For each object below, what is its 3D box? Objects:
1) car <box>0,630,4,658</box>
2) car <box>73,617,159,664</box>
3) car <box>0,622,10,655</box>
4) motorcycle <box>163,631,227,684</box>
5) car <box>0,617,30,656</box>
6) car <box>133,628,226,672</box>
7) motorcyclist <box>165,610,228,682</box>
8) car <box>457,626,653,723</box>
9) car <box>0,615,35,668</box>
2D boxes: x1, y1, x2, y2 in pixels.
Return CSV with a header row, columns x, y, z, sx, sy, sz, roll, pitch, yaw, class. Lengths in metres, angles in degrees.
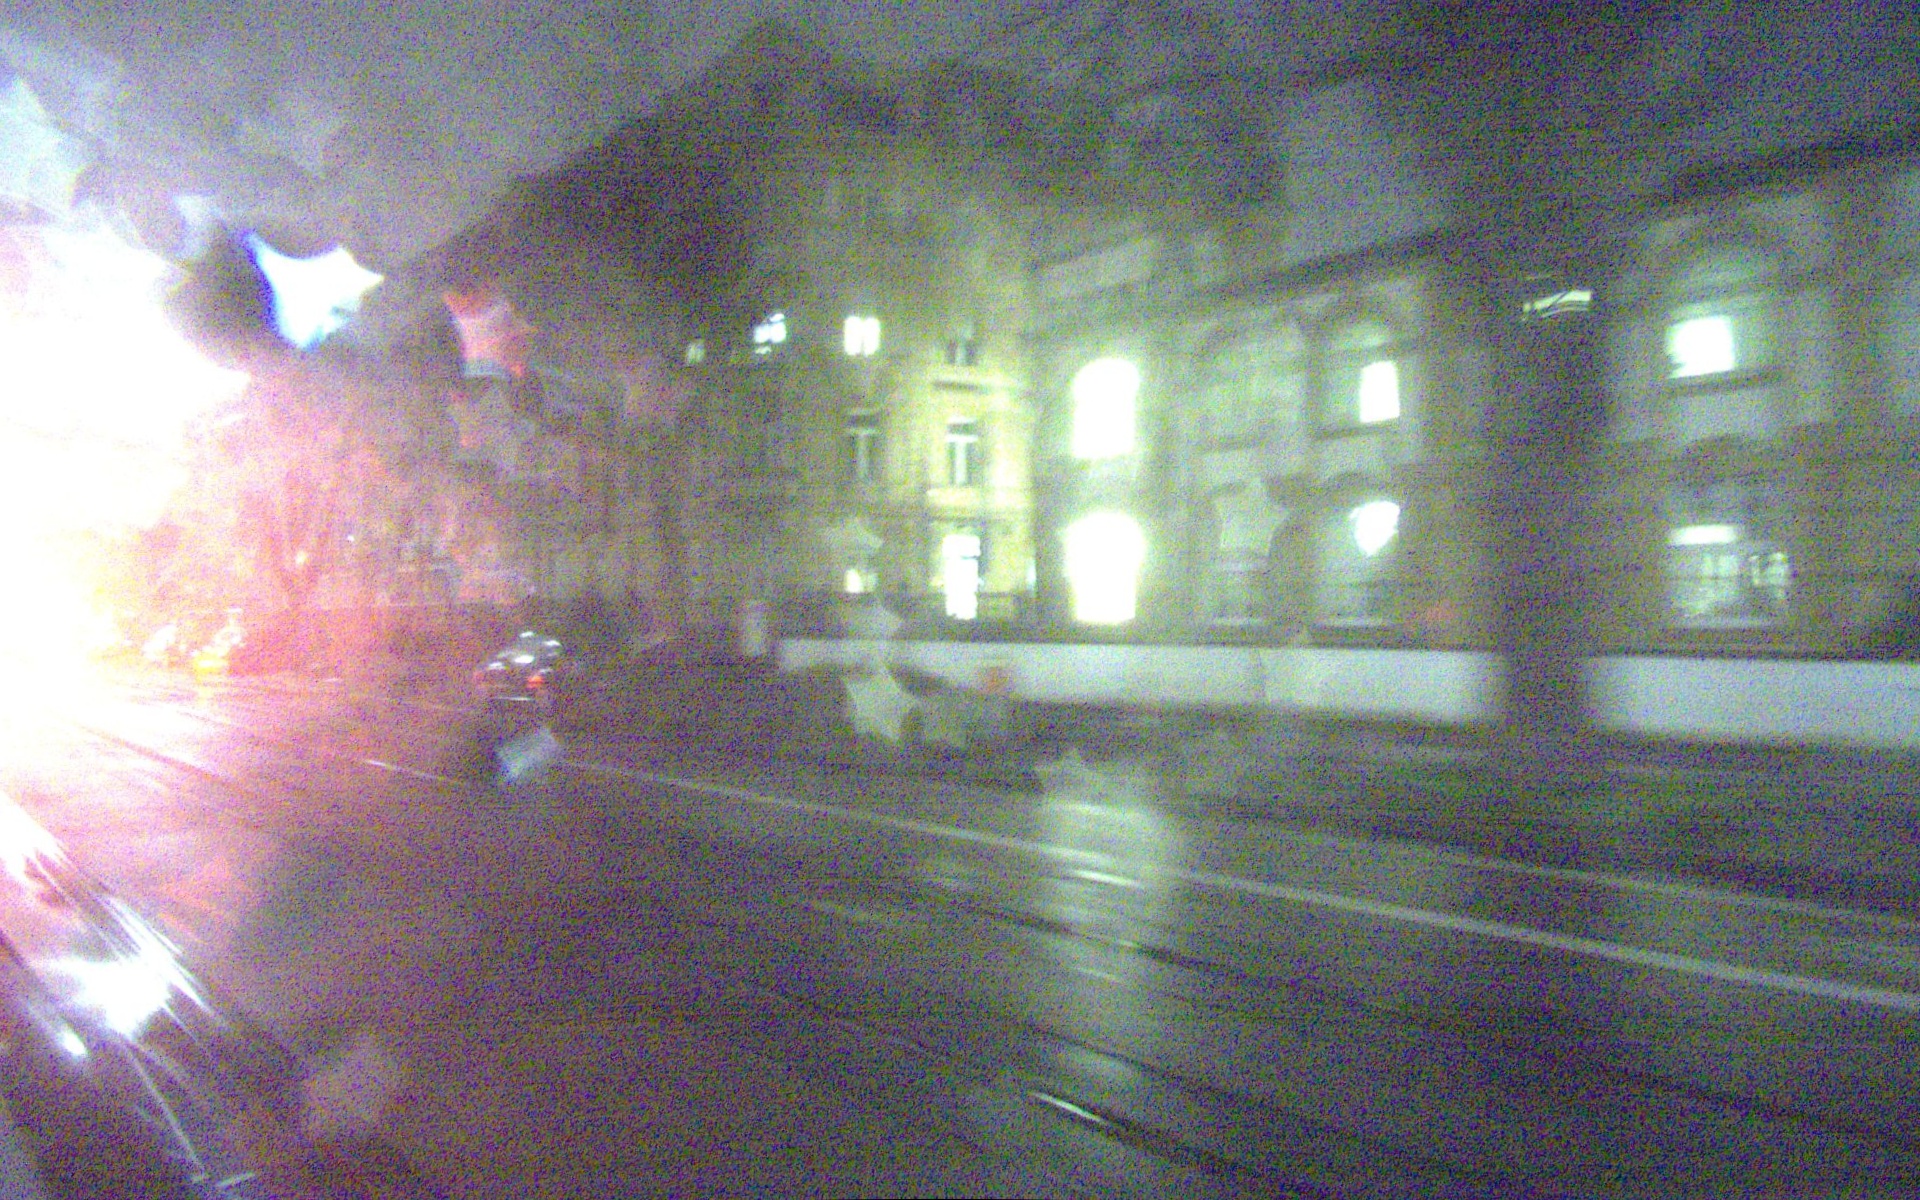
x,y,z,sx,sy,sz,roll,pitch,yaw,class
-53.351,2.400,55.156,1.771,1.475,3.904,1,-2,-44,car
-36.811,1.743,44.112,5.305,1.839,1.973,-2,1,41,car
-57.813,2.267,60.022,4.537,1.883,1.873,-1,-3,44,car
-19.473,1.456,25.755,2.000,1.239,0.808,0,-5,41,motorcycle
-48.395,1.849,51.162,1.903,1.894,4.641,3,-4,-43,car
-28.100,1.757,36.382,4.137,1.417,1.748,-1,1,39,car
-19.405,1.171,25.732,1.135,1.753,0.909,0,-5,41,motorcyclist
-7.327,1.244,18.146,4.000,1.397,1.650,0,1,42,car
-35.322,1.505,36.888,4.384,1.830,1.918,-2,-4,42,car
